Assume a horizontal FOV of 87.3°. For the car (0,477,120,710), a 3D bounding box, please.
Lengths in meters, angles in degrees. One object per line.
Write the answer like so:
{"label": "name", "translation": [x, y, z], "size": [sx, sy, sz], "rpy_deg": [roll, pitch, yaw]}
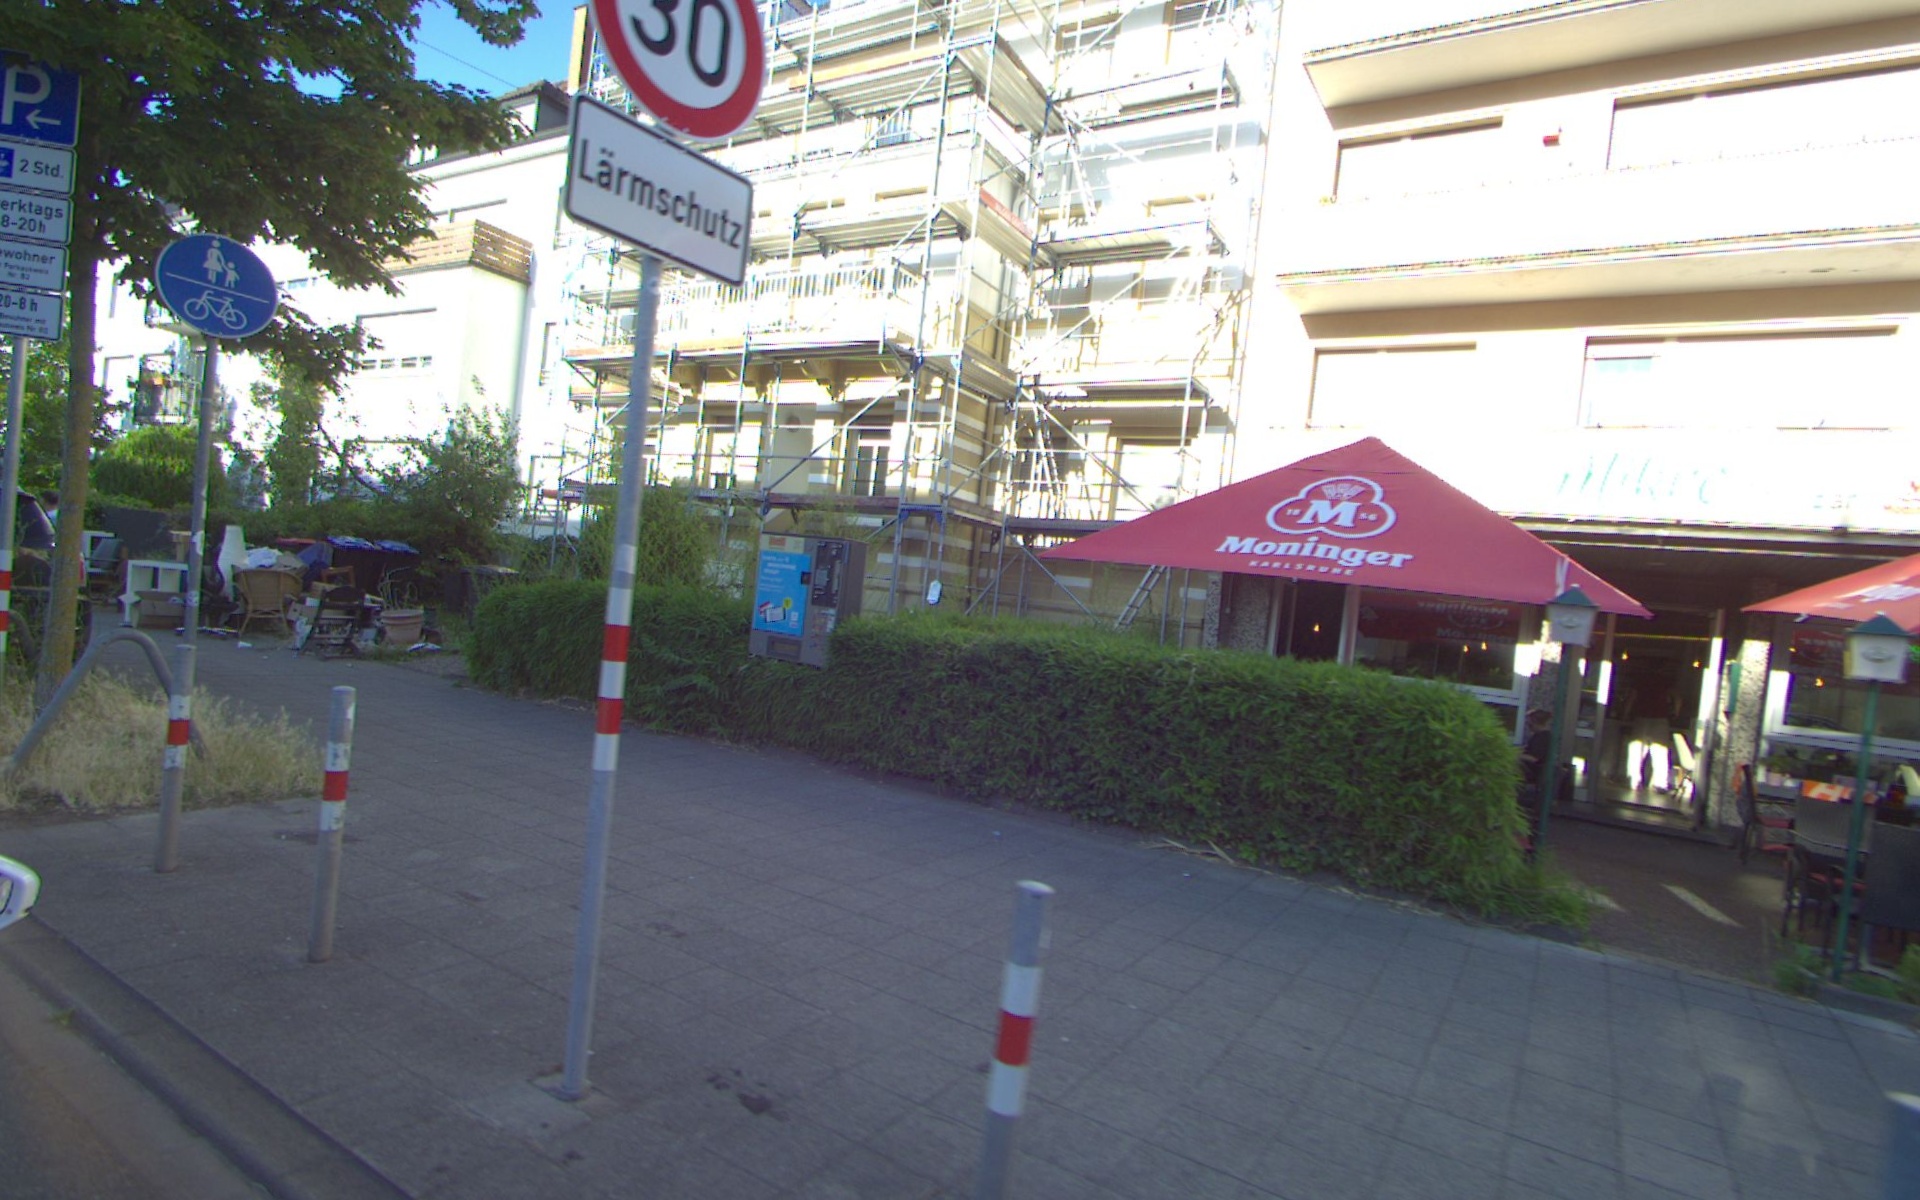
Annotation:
{"label": "car", "translation": [-8.618, -0.233, 7.975], "size": [3.962, 1.653, 1.793], "rpy_deg": [6, 1, 32]}

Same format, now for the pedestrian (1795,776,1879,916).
{"label": "pedestrian", "translation": [7.139, 1.982, 8.205], "size": [0.407, 1.002, 0.524], "rpy_deg": [6, -1, 38]}

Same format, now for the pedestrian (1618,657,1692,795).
{"label": "pedestrian", "translation": [9.676, 1.743, 14.030], "size": [0.674, 1.797, 0.524], "rpy_deg": [6, 0, 33]}

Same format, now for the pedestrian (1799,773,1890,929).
{"label": "pedestrian", "translation": [6.813, 1.912, 7.769], "size": [0.407, 1.061, 0.524], "rpy_deg": [6, -1, 38]}

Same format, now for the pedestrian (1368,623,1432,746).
{"label": "pedestrian", "translation": [6.801, 1.297, 15.542], "size": [0.674, 1.797, 0.524], "rpy_deg": [6, 0, 33]}

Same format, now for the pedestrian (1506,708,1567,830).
{"label": "pedestrian", "translation": [6.094, 1.765, 10.628], "size": [0.407, 1.203, 0.524], "rpy_deg": [4, -2, 38]}

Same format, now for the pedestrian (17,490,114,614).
{"label": "pedestrian", "translation": [-12.213, -0.645, 13.742], "size": [0.734, 1.587, 0.557], "rpy_deg": [6, 0, 14]}
